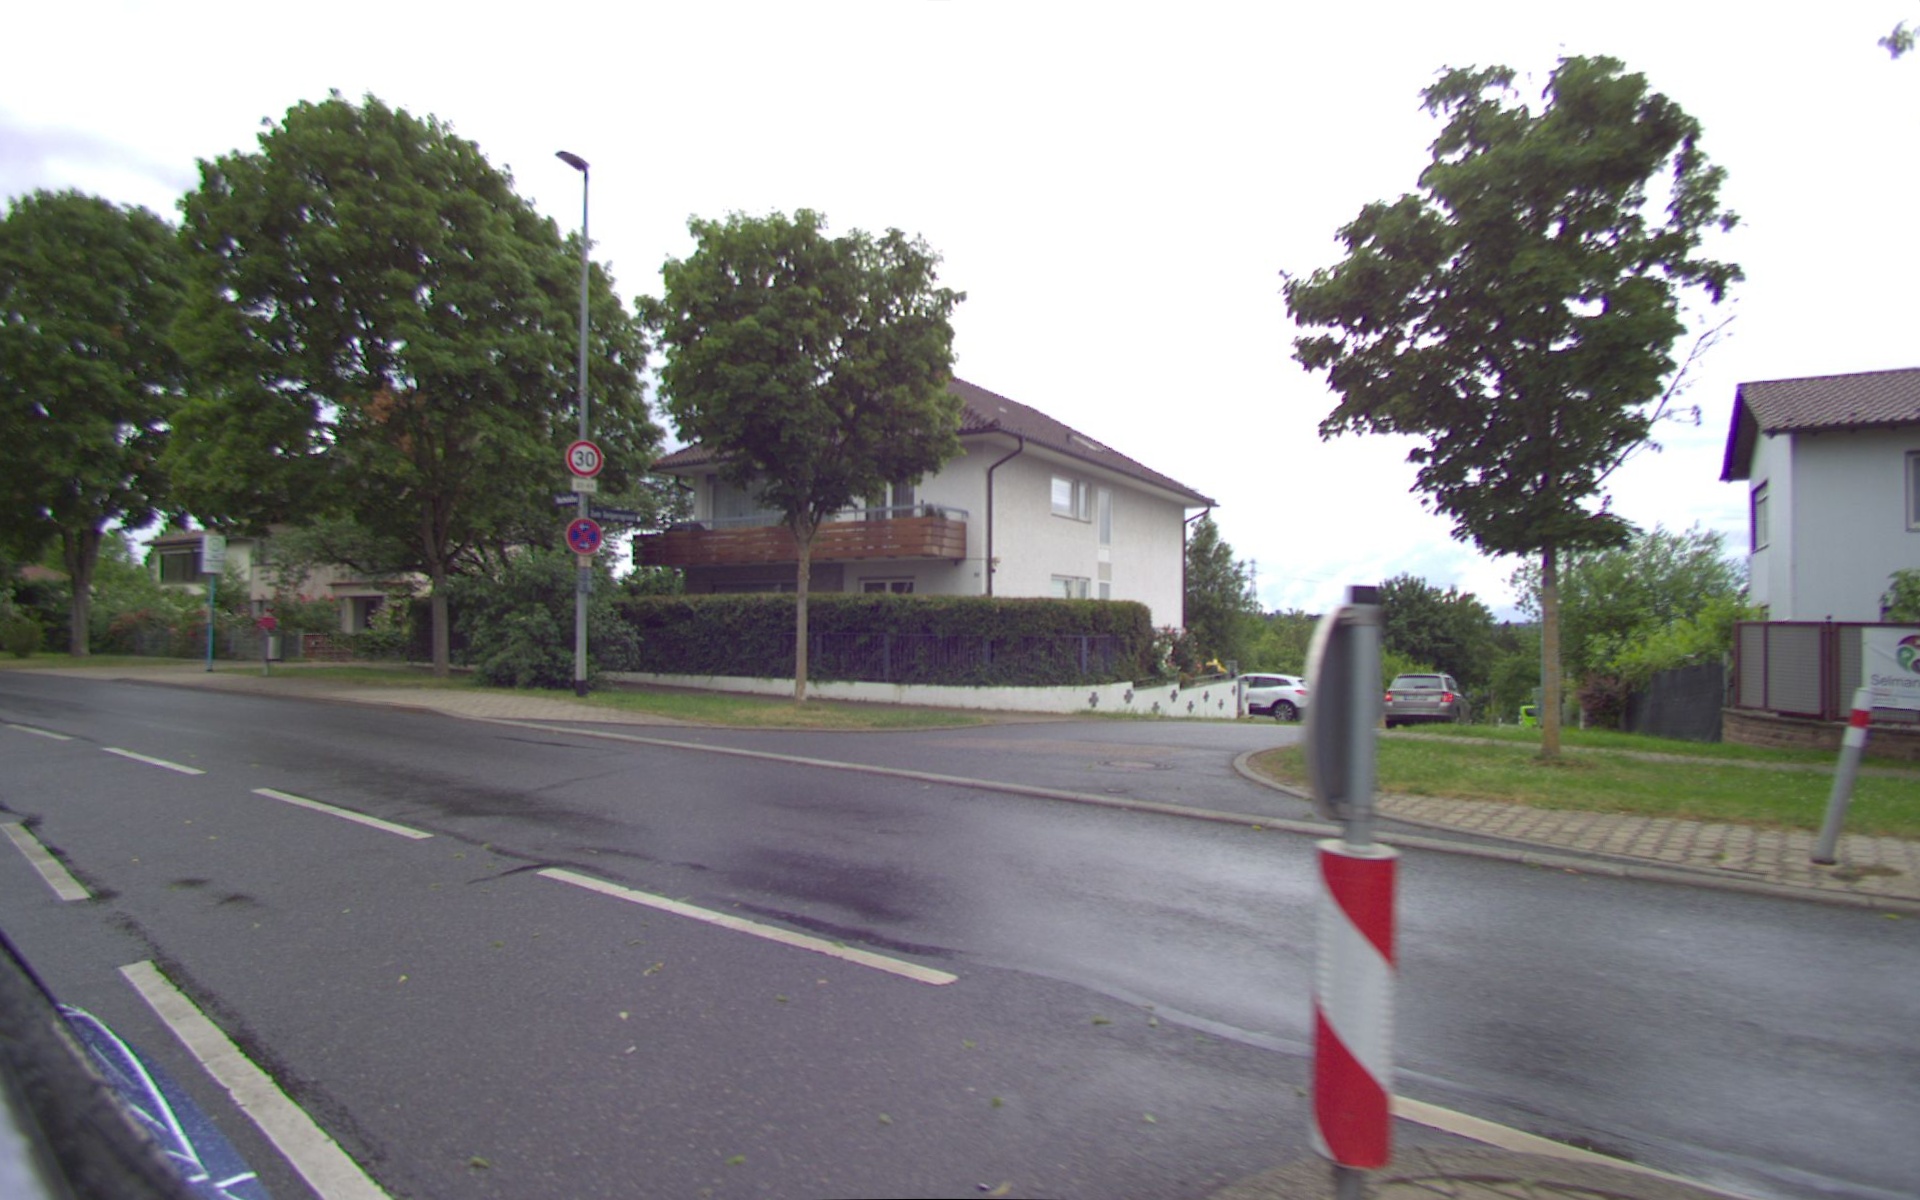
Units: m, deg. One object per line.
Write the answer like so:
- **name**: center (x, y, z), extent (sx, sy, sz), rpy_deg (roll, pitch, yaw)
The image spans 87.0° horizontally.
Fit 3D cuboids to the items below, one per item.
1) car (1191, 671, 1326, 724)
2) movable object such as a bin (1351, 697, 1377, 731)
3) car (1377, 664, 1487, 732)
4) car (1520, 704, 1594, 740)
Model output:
- **car**: center (10.181, 3.277, 34.568), extent (4.037, 1.519, 1.978), rpy_deg (0, -2, 33)
- **movable object such as a bin**: center (12.581, 3.551, 31.543), extent (0.651, 0.987, 0.583), rpy_deg (-1, -2, 34)
- **car**: center (12.063, 2.427, 25.743), extent (1.843, 1.498, 3.951), rpy_deg (0, -3, 36)
- **car**: center (38.715, 7.854, 65.693), extent (3.989, 2.103, 1.779), rpy_deg (-3, -3, 34)
